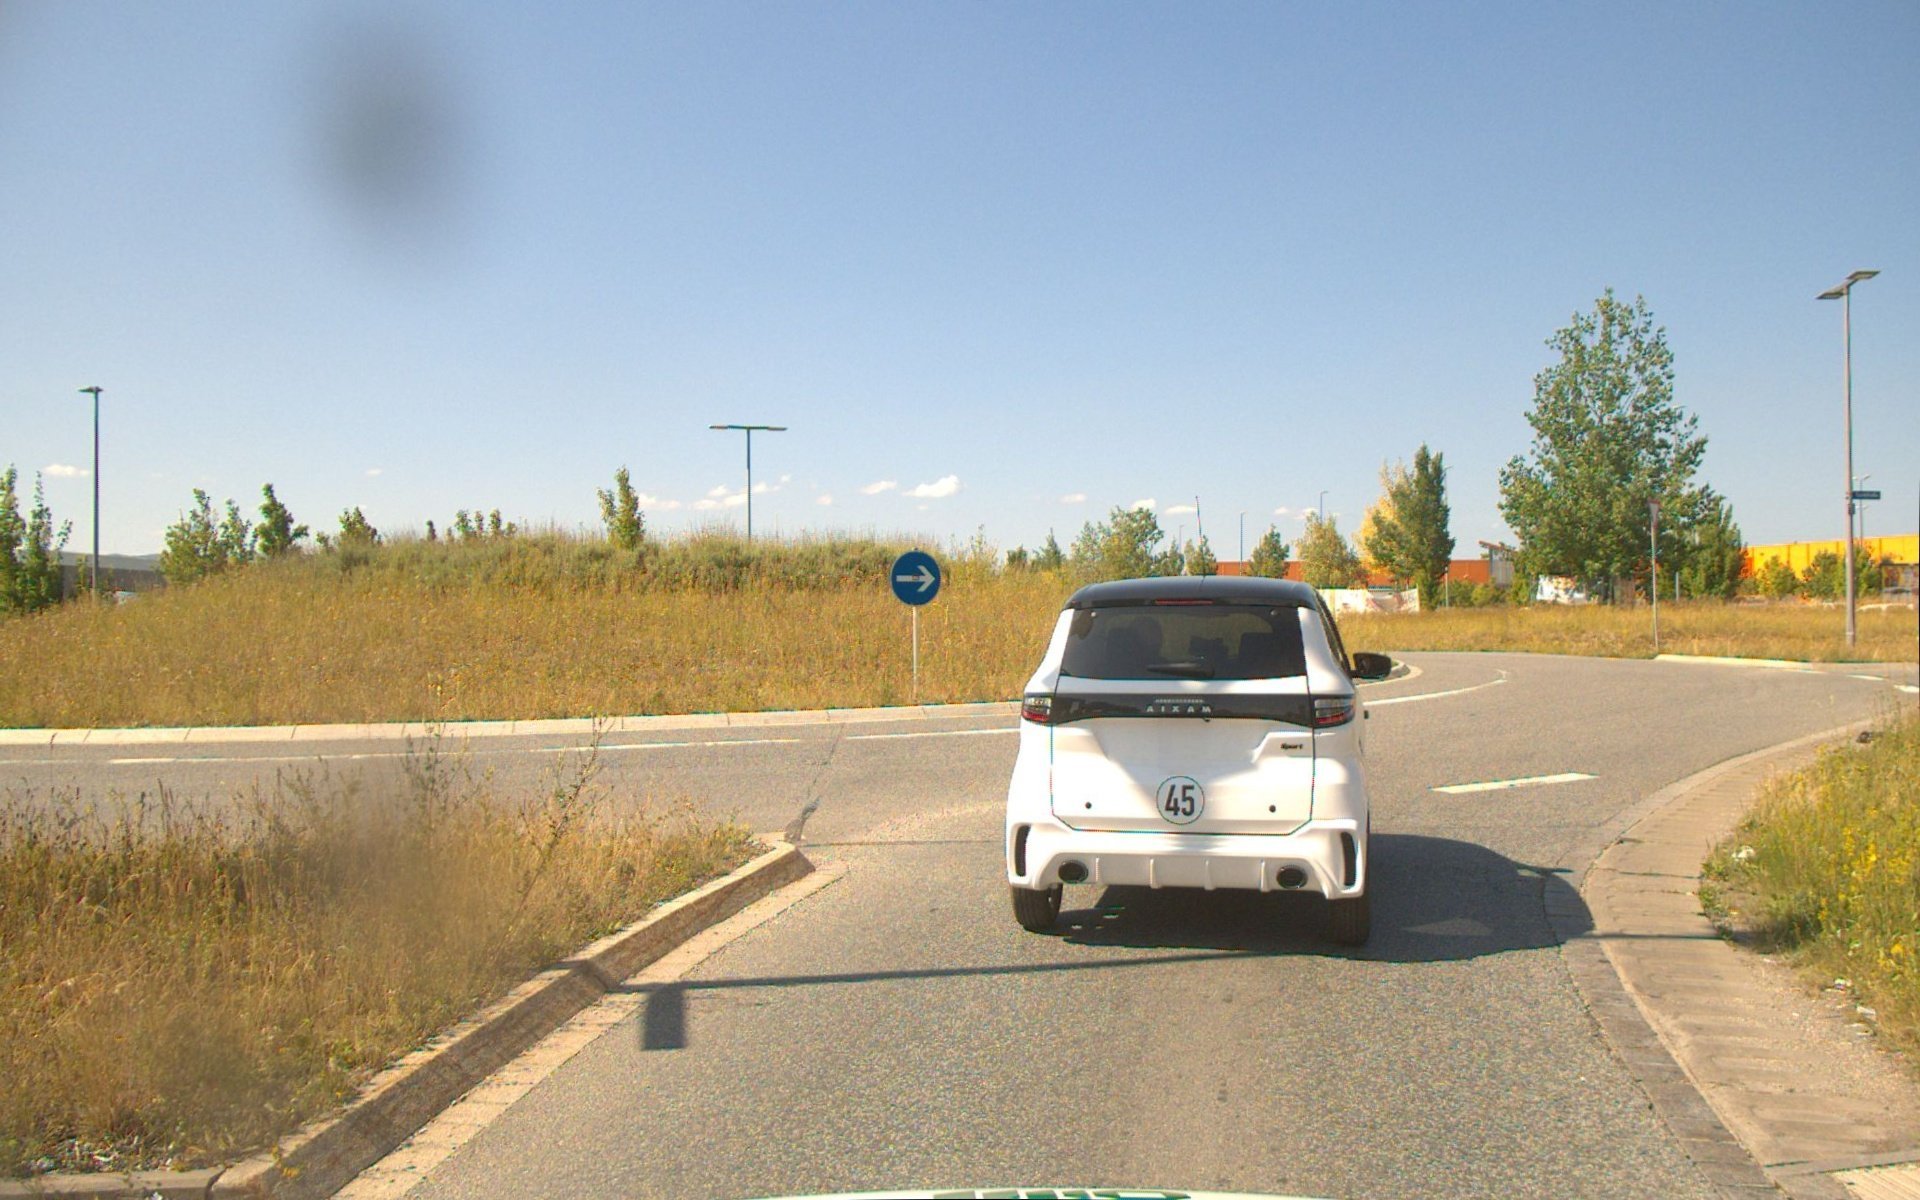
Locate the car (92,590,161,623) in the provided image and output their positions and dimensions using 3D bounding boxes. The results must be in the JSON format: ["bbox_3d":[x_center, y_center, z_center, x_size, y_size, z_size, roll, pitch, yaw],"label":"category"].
[{"bbox_3d":[-46.116,0.365,91.599,1.954,1.762,3.997,-1,-1,-3],"label":"car"}]

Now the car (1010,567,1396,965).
[{"bbox_3d":[1.266,0.592,8.027,1.477,1.465,3.354,0,2,12],"label":"car"}]
